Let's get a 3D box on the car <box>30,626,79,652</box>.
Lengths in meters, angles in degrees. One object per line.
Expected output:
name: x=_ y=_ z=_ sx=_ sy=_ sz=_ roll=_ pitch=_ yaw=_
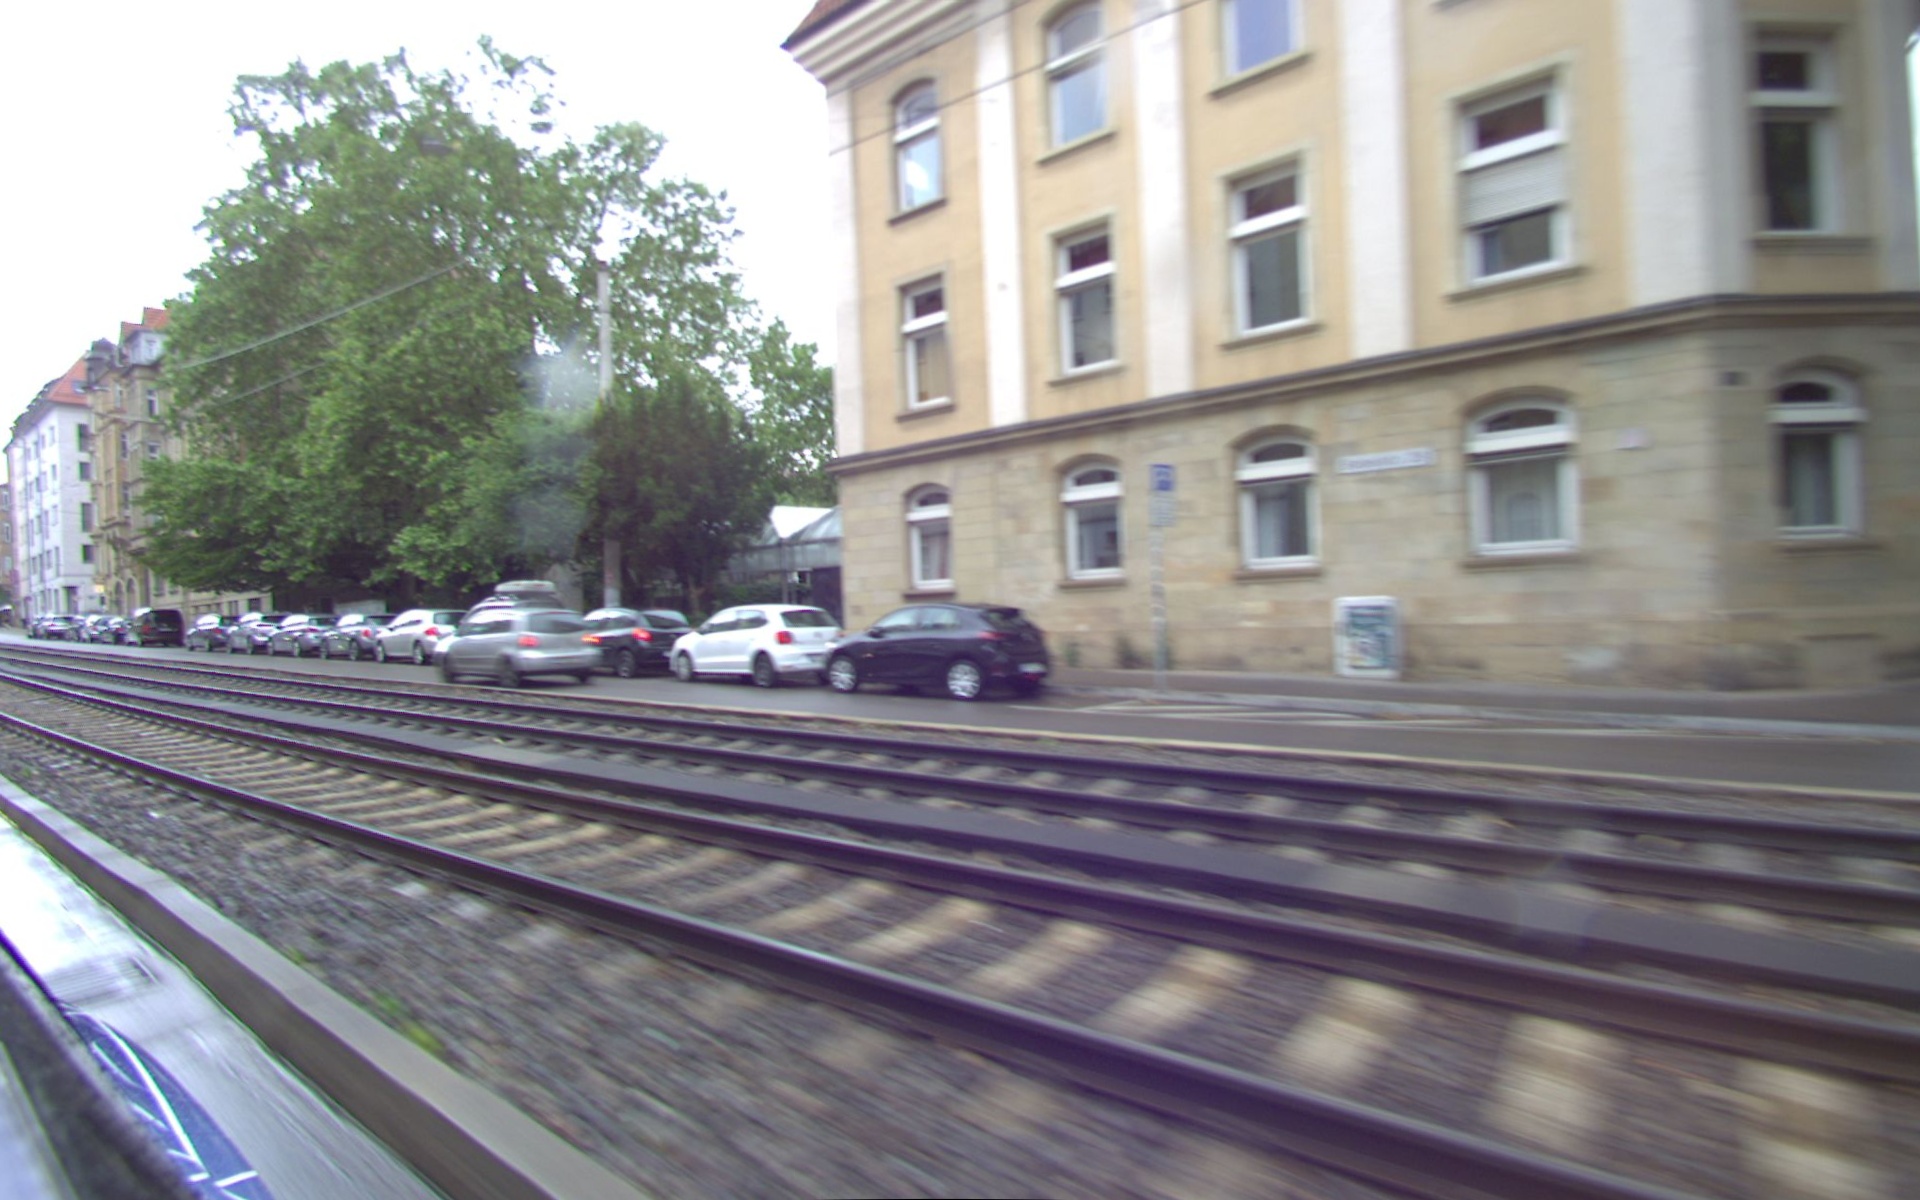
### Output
car: x=-60.654 y=2.601 z=67.760 sx=4.311 sy=1.665 sz=1.840 roll=-2 pitch=-1 yaw=39

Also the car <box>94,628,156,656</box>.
car: x=-44.647 y=2.227 z=54.082 sx=4.266 sy=1.409 sz=1.745 roll=-2 pitch=-2 yaw=40

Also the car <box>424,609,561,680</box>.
car: x=-11.879 y=1.101 z=25.609 sx=4.068 sy=1.656 sz=1.560 roll=-2 pitch=-3 yaw=40

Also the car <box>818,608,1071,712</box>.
car: x=-0.319 y=0.886 z=15.801 sx=3.849 sy=1.440 sz=1.598 roll=-2 pitch=-2 yaw=40

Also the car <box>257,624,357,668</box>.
car: x=-22.465 y=1.543 z=34.768 sx=4.150 sy=1.424 sz=1.736 roll=-2 pitch=-3 yaw=40

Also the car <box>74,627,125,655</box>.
car: x=-49.096 y=2.320 z=57.731 sx=3.853 sy=1.535 sz=1.677 roll=-2 pitch=-2 yaw=41

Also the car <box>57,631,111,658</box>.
car: x=-52.913 y=2.647 z=61.098 sx=4.166 sy=1.519 sz=1.851 roll=-1 pitch=-1 yaw=41

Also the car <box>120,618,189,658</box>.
car: x=-39.638 y=1.835 z=49.748 sx=4.815 sy=1.861 sz=1.782 roll=-2 pitch=-2 yaw=41

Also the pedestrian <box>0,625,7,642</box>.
pedestrian: x=-97.739 y=3.428 z=103.252 sx=0.658 sy=1.731 sz=0.595 roll=-2 pitch=2 yaw=43

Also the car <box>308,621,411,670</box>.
car: x=-18.736 y=1.400 z=31.536 sx=3.949 sy=1.424 sz=1.524 roll=-2 pitch=-3 yaw=40

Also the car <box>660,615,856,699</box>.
car: x=-3.815 y=1.019 z=18.791 sx=3.986 sy=1.401 sz=1.484 roll=-2 pitch=-3 yaw=42

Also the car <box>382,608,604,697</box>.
car: x=-9.045 y=0.958 z=19.460 sx=4.622 sy=1.516 sz=1.802 roll=-2 pitch=0 yaw=35

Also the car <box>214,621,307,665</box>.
car: x=-26.313 y=1.596 z=38.012 sx=4.540 sy=1.548 sz=1.736 roll=-2 pitch=-3 yaw=41

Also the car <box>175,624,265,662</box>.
car: x=-30.314 y=1.749 z=41.420 sx=4.545 sy=1.475 sz=1.831 roll=-1 pitch=-3 yaw=39

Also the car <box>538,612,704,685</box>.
car: x=-7.429 y=1.025 z=21.976 sx=4.008 sy=1.424 sz=1.657 roll=-2 pitch=-3 yaw=42

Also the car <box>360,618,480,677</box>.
car: x=-15.191 y=1.306 z=28.400 sx=4.151 sy=1.517 sz=1.524 roll=-2 pitch=-3 yaw=40
